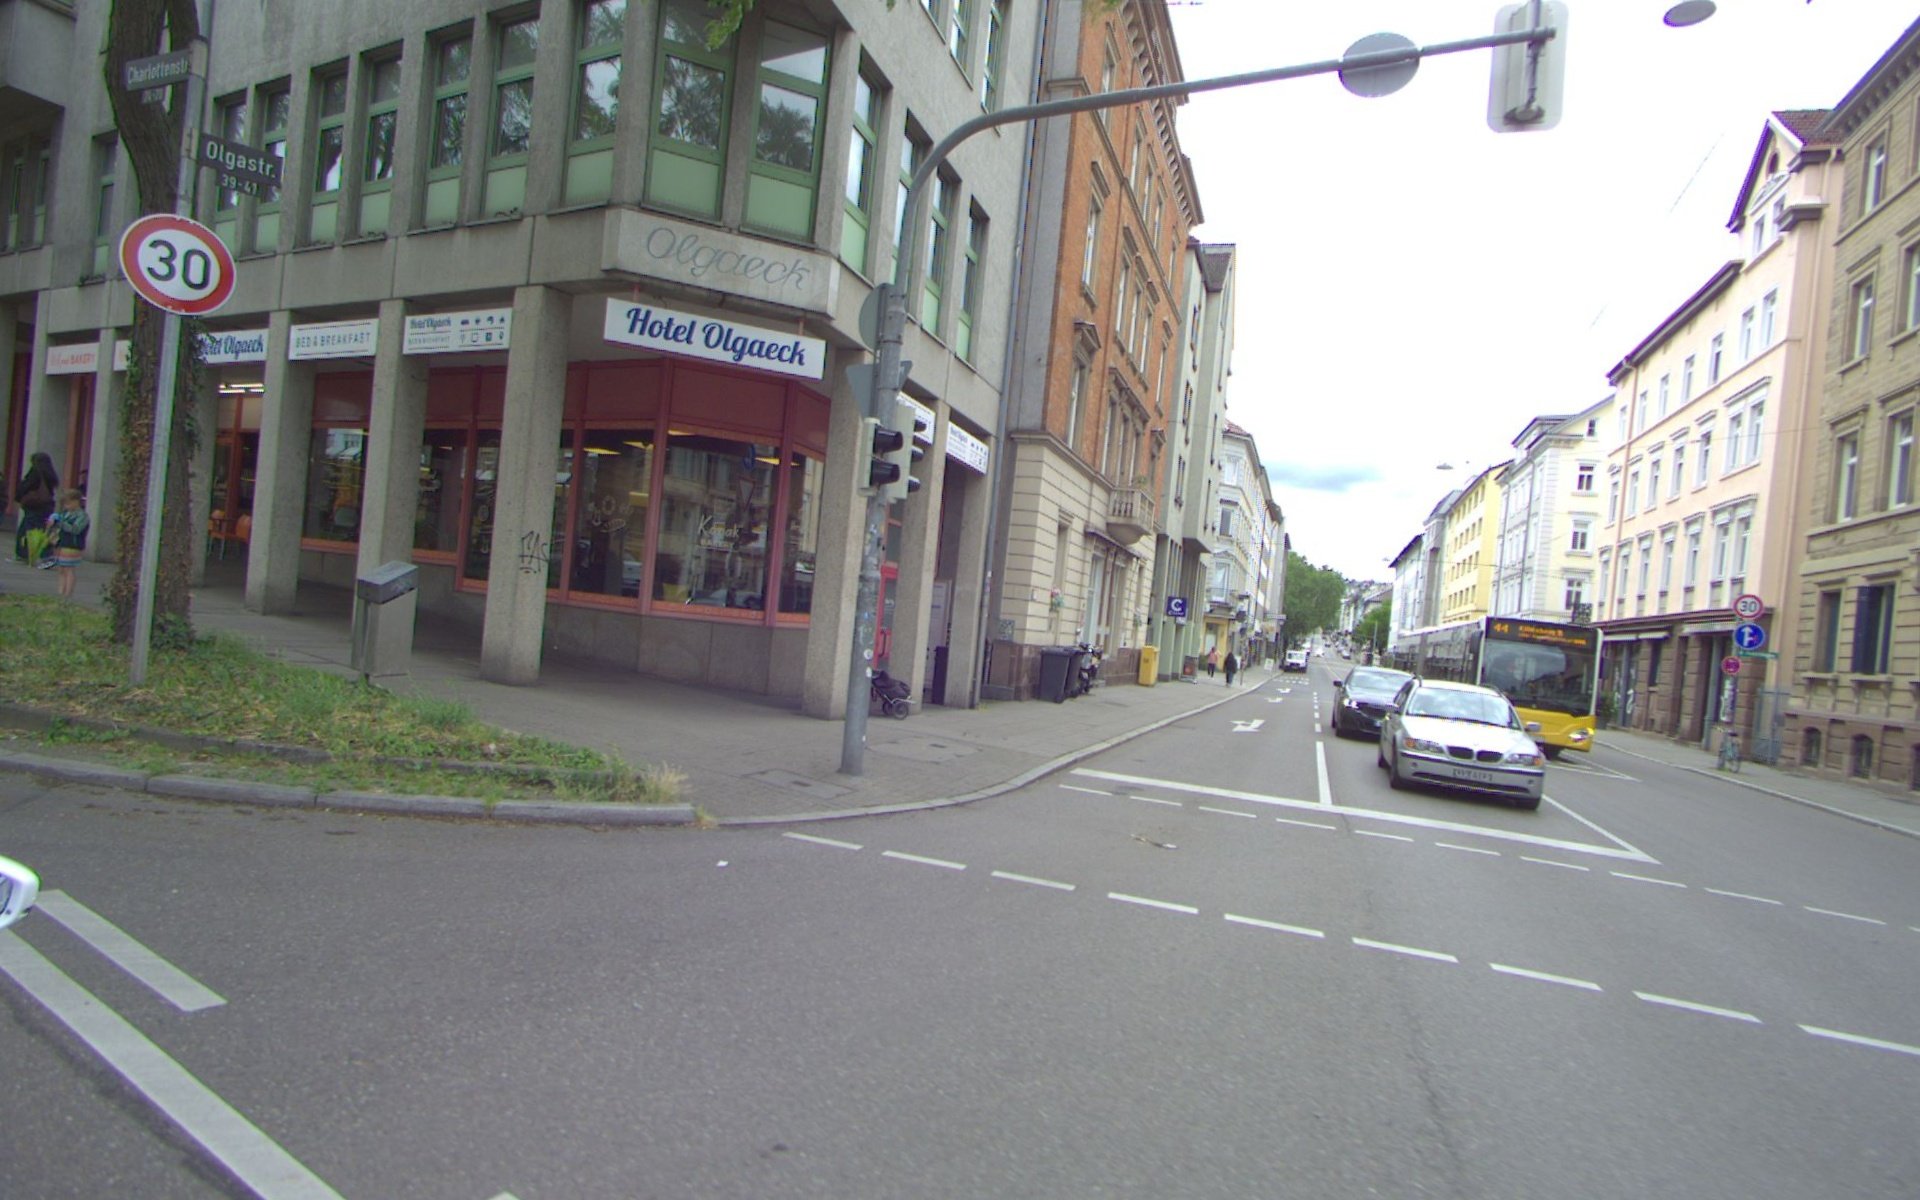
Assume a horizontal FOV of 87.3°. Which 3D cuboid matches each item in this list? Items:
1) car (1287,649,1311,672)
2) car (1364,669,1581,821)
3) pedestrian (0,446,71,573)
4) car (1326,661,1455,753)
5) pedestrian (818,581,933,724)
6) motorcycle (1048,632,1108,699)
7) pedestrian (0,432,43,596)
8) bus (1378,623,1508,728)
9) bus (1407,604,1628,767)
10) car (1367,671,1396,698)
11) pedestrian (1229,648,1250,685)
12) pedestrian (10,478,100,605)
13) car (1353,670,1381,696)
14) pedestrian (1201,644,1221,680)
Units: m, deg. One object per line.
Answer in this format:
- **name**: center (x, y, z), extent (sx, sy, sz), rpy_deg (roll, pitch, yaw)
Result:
- **car**: center (34.439, 6.181, 102.323), extent (1.962, 2.038, 4.002), rpy_deg (7, -1, 18)
- **car**: center (6.756, 1.807, 13.746), extent (1.819, 1.445, 4.163), rpy_deg (7, -1, 18)
- **pedestrian**: center (-12.893, -1.255, 13.988), extent (0.753, 1.633, 0.615), rpy_deg (11, 4, 42)
- **car**: center (9.146, 2.200, 21.720), extent (1.962, 1.507, 4.272), rpy_deg (7, -1, 18)
- **pedestrian**: center (-1.143, 0.686, 13.448), extent (1.112, 1.734, 0.851), rpy_deg (7, 0, -26)
- **motorcycle**: center (2.719, 1.467, 23.170), extent (1.130, 1.312, 2.660), rpy_deg (7, -1, 7)
- **pedestrian**: center (-11.167, -1.020, 11.452), extent (0.819, 1.827, 0.722), rpy_deg (10, 4, 25)
- **bus**: center (18.036, 2.787, 38.362), extent (2.665, 3.073, 11.359), rpy_deg (7, -1, 18)
- **bus**: center (14.290, 2.116, 26.982), extent (2.821, 3.079, 11.596), rpy_deg (7, -1, 19)
- **car**: center (28.865, 5.764, 68.928), extent (1.624, 1.584, 3.660), rpy_deg (7, -1, 23)
- **pedestrian**: center (13.881, 3.312, 49.932), extent (0.713, 1.716, 0.679), rpy_deg (7, 0, 22)
- **pedestrian**: center (-10.273, -0.655, 11.423), extent (0.510, 1.349, 0.472), rpy_deg (7, -1, 26)
- **car**: center (32.678, 6.608, 80.733), extent (1.820, 1.788, 4.160), rpy_deg (7, -1, 23)
- **pedestrian**: center (12.716, 3.157, 50.957), extent (0.713, 1.715, 0.679), rpy_deg (7, -2, 22)
